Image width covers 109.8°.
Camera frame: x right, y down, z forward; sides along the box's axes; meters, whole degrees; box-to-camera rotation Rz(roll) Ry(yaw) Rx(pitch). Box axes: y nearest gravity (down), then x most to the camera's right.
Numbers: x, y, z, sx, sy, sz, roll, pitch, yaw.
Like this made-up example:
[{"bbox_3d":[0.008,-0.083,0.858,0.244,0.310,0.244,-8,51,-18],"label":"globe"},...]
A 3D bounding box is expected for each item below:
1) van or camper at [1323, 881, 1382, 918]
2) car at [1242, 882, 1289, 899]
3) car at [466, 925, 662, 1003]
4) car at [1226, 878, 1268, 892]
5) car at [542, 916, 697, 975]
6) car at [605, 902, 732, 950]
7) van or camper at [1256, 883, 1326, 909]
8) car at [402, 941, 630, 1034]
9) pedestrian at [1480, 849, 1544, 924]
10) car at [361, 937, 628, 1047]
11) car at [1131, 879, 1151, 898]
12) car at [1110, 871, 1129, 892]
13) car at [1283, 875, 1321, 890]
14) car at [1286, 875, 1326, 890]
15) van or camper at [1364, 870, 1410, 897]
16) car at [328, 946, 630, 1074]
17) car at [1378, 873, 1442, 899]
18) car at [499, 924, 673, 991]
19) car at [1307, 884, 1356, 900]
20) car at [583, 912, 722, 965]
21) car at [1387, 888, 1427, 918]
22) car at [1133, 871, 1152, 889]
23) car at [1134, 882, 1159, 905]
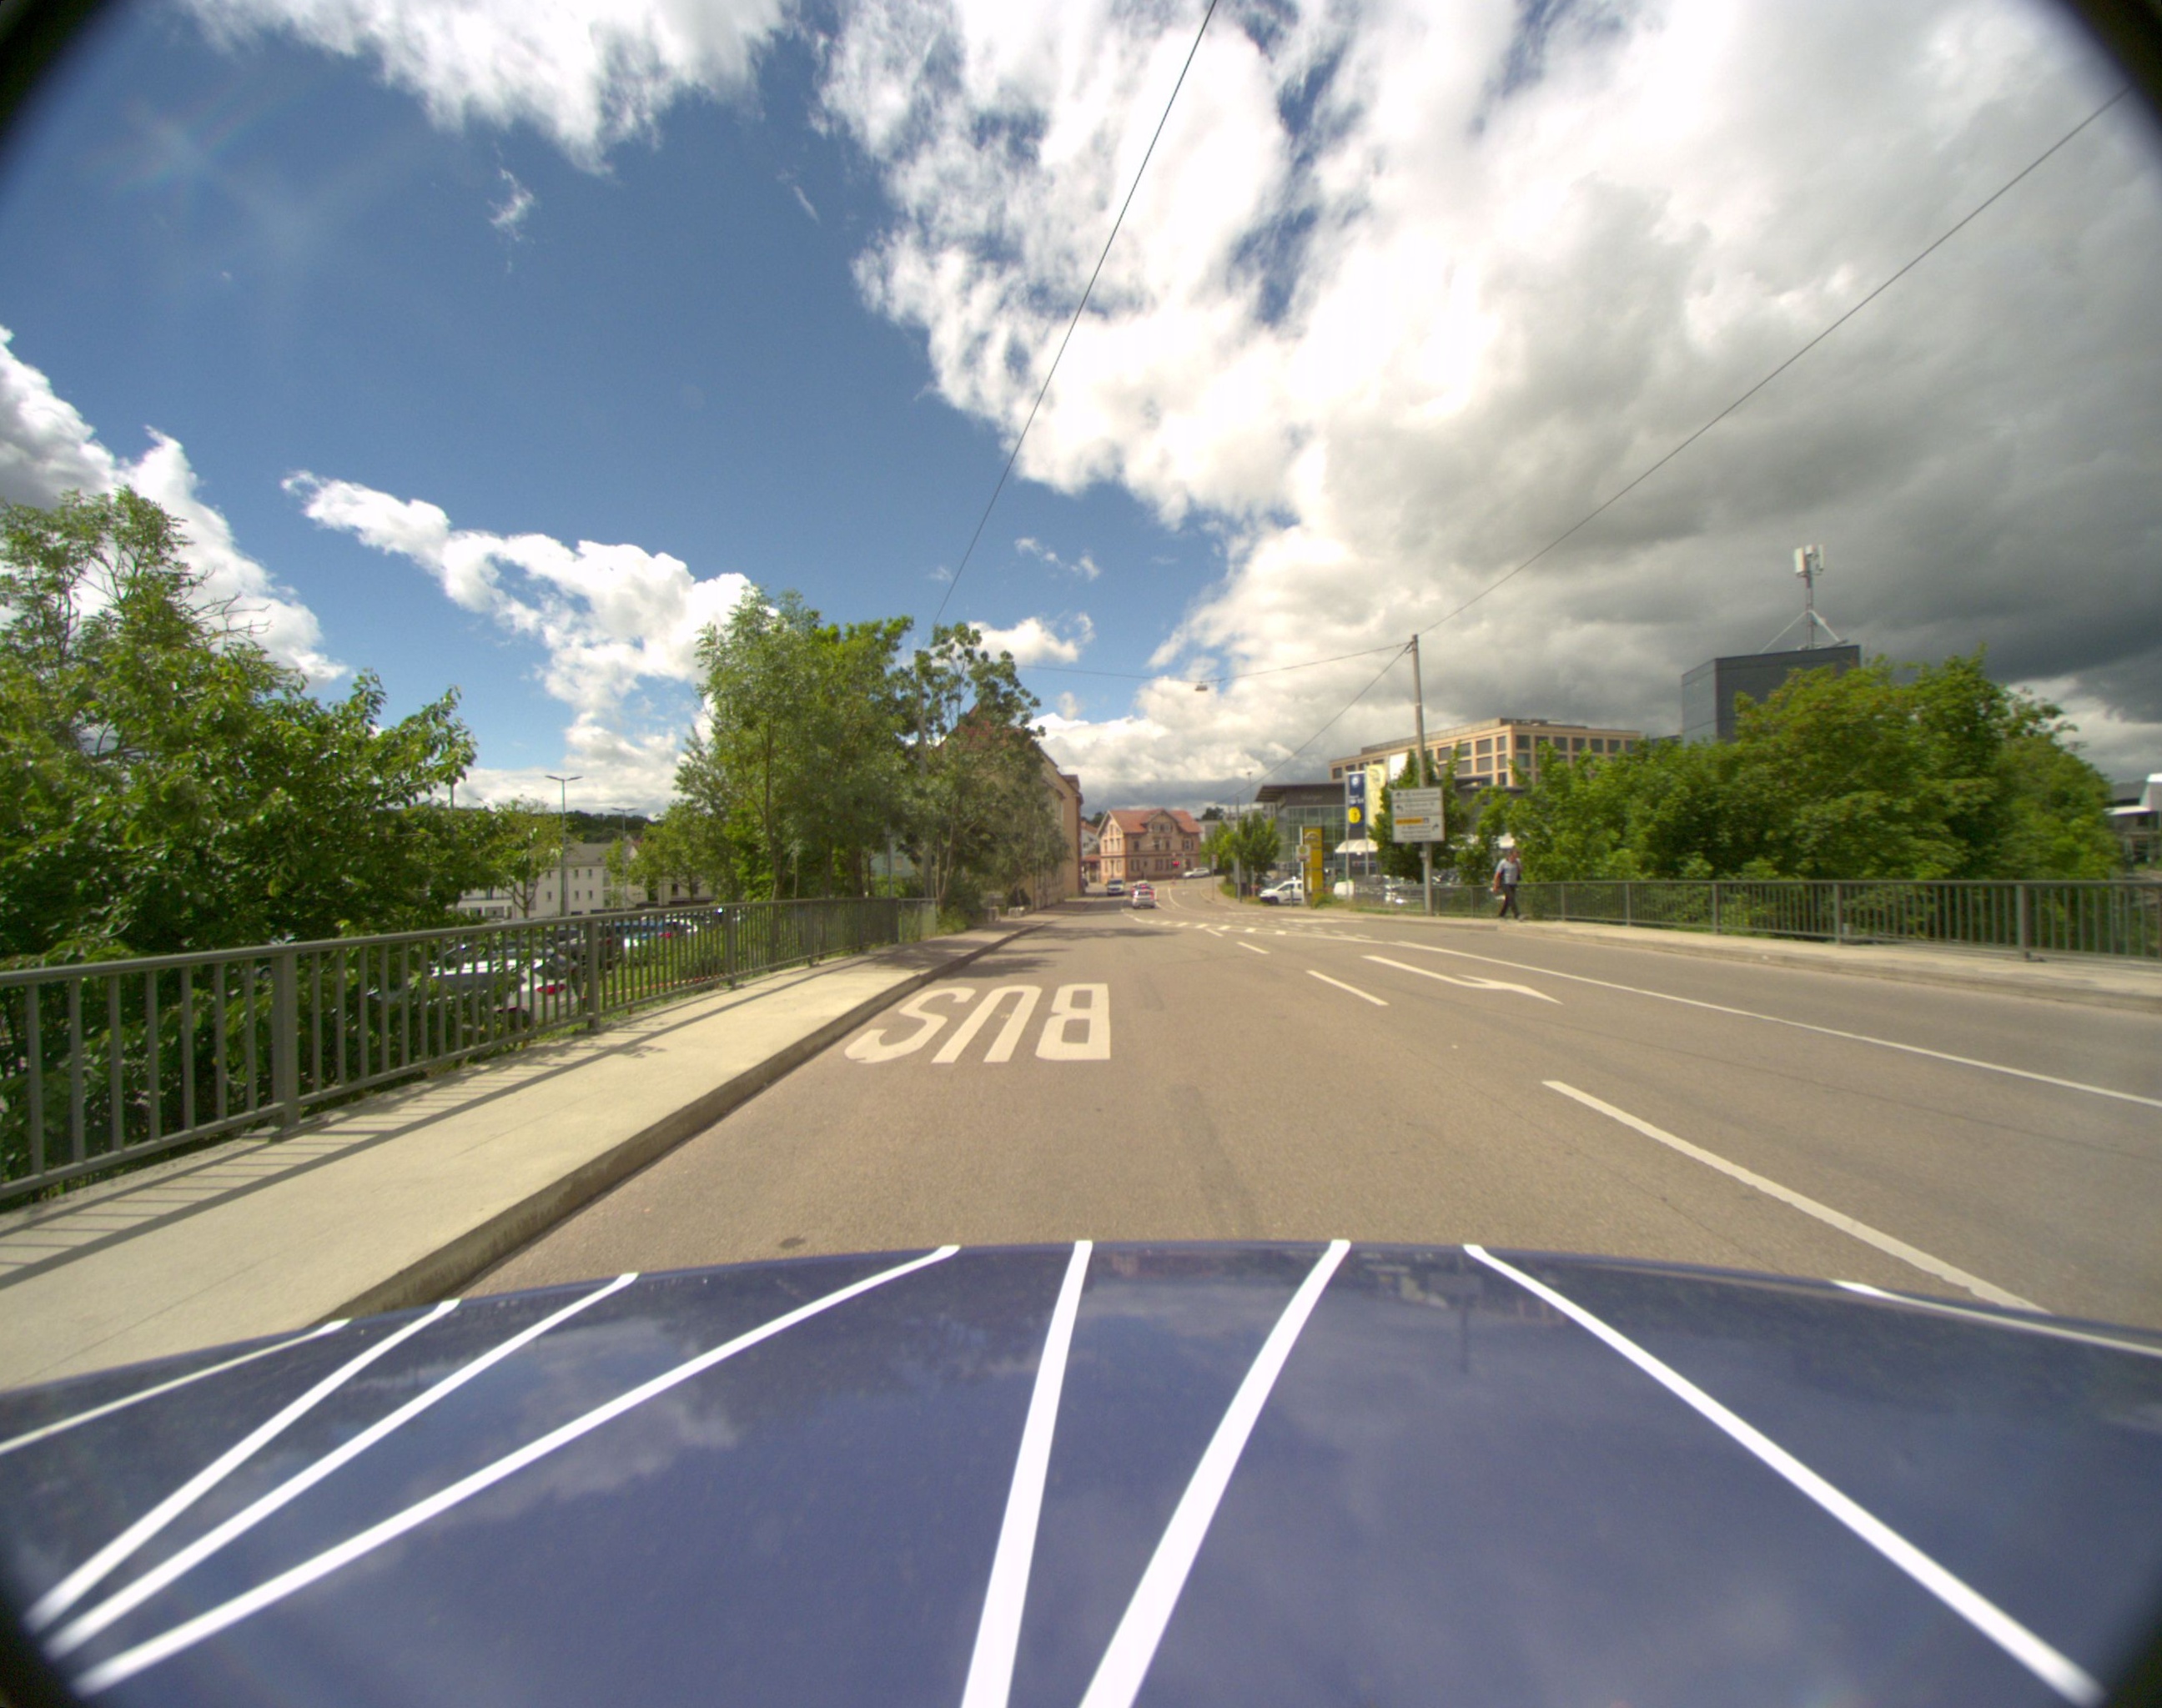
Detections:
[{"bbox_3d":[16.408,2.709,45.706,1.985,1.951,4.969,-4,-2,35],"label":"van or camper"},{"bbox_3d":[16.921,3.358,69.665,3.858,1.488,1.813,-1,-1,2],"label":"car"},{"bbox_3d":[-14.792,3.102,22.067,4.355,1.659,1.869,-2,-1,-23],"label":"car"},{"bbox_3d":[18.019,3.357,82.531,4.216,1.488,1.813,-1,-1,4],"label":"car"},{"bbox_3d":[-16.518,3.242,27.408,4.351,1.659,1.870,-3,-1,-10],"label":"car"},{"bbox_3d":[-17.552,3.049,32.528,4.351,1.659,1.870,-3,-1,-10],"label":"car"},{"bbox_3d":[15.157,3.015,55.049,4.677,1.739,2.002,-2,-1,7],"label":"van or camper"},{"bbox_3d":[-14.131,3.291,19.363,4.356,1.659,1.868,-2,-1,-28],"label":"car"},{"bbox_3d":[11.096,0.833,19.607,0.998,1.825,1.037,-3,-2,3],"label":"pedestrian"},{"bbox_3d":[-12.558,2.888,16.695,4.356,1.659,1.868,-2,-1,-30],"label":"car"},{"bbox_3d":[5.846,3.291,73.640,1.722,1.572,4.253,-4,0,6],"label":"car"},{"bbox_3d":[4.434,3.126,87.285,1.998,1.981,4.991,-5,0,4],"label":"car"},{"bbox_3d":[21.903,2.819,75.401,3.323,1.365,1.518,-1,-1,3],"label":"car"},{"bbox_3d":[21.423,2.680,72.465,3.323,1.365,1.518,-1,-1,3],"label":"car"},{"bbox_3d":[24.558,2.334,61.141,1.998,2.001,4.688,-1,-2,3],"label":"van or camper"},{"bbox_3d":[-11.471,2.910,14.946,4.356,1.659,1.868,-2,-1,-30],"label":"car"},{"bbox_3d":[20.899,2.020,48.246,4.007,1.458,1.814,-1,-1,-35],"label":"car"},{"bbox_3d":[-16.021,3.323,24.852,4.353,1.659,1.869,-2,-1,-18],"label":"car"},{"bbox_3d":[20.621,3.125,62.629,3.471,1.246,1.546,-1,-1,3],"label":"car"},{"bbox_3d":[-16.778,3.269,29.956,4.351,1.659,1.870,-3,-1,-10],"label":"car"},{"bbox_3d":[18.184,2.696,42.313,1.814,1.458,4.007,-2,-1,26],"label":"car"},{"bbox_3d":[6.423,2.713,79.450,1.722,1.572,4.320,-6,0,6],"label":"car"},{"bbox_3d":[5.176,3.116,60.327,1.723,1.572,4.001,-4,0,2],"label":"car"}]
